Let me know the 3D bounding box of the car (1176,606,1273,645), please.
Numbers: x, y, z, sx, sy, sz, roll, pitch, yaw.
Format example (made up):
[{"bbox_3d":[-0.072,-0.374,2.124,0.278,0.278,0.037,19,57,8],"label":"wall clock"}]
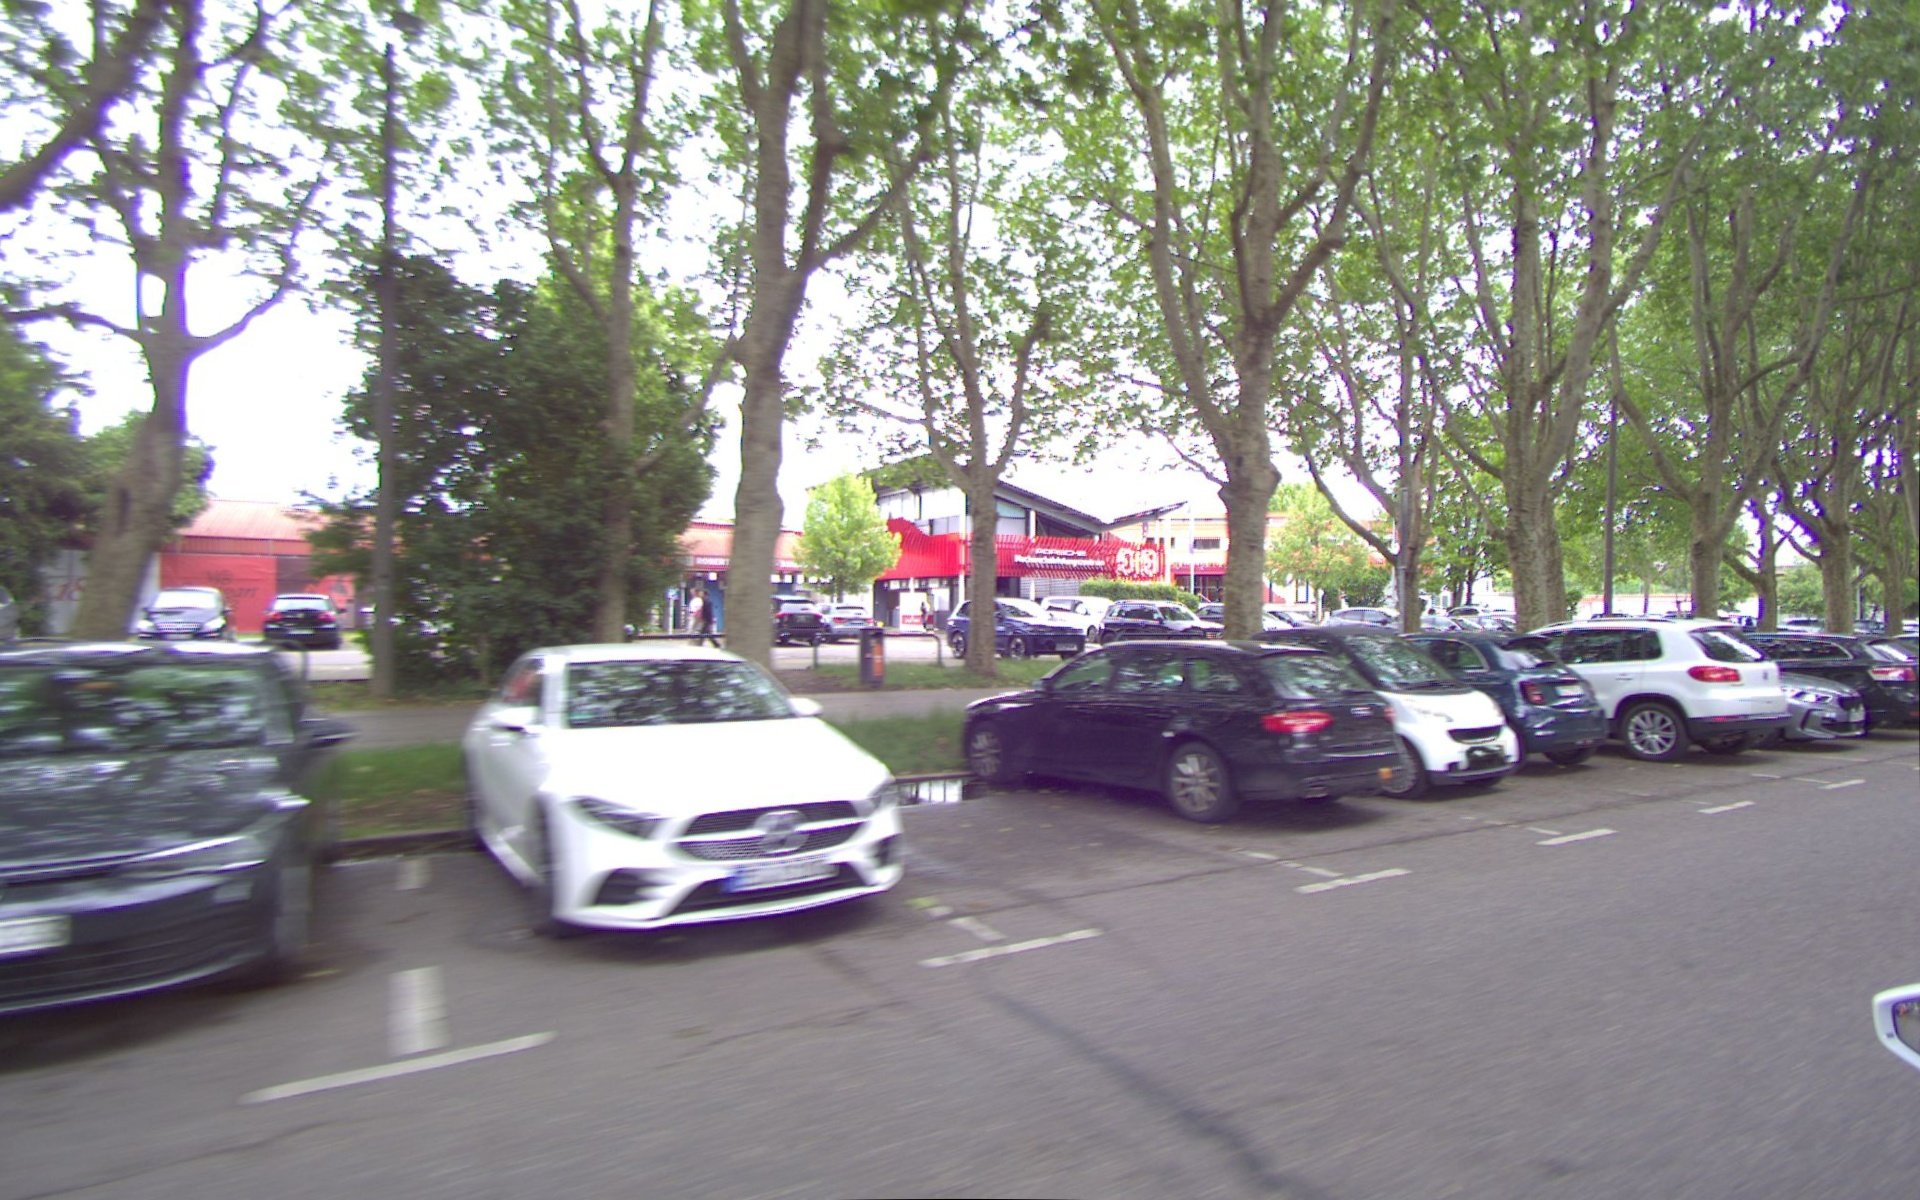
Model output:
[{"bbox_3d":[12.082,1.145,46.074,1.979,1.647,3.962,2,0,-34],"label":"car"}]

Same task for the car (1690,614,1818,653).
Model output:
[{"bbox_3d":[39.392,1.639,49.957,2.270,1.785,4.495,2,0,-31],"label":"car"}]

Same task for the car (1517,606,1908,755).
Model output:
[{"bbox_3d":[10.276,0.989,14.053,1.833,1.704,3.969,2,0,-29],"label":"car"}]

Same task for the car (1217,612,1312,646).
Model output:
[{"bbox_3d":[14.248,1.337,47.138,1.978,1.446,3.965,2,0,-32],"label":"car"}]

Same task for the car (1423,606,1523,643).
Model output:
[{"bbox_3d":[28.731,1.353,56.424,2.265,1.880,4.565,2,0,-25],"label":"car"}]

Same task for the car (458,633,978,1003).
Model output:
[{"bbox_3d":[-1.900,0.954,6.441,2.024,1.463,4.385,1,-2,-31],"label":"car"}]

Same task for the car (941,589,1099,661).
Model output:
[{"bbox_3d":[1.498,0.698,26.816,1.978,1.743,4.528,1,-3,-32],"label":"car"}]

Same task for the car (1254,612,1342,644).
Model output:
[{"bbox_3d":[16.180,1.328,48.203,1.489,1.390,3.965,2,0,-32],"label":"car"}]

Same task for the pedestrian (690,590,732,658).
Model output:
[{"bbox_3d":[-6.856,0.647,27.629,0.907,1.824,0.813,1,0,-30],"label":"pedestrian"}]

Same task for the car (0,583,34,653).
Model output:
[{"bbox_3d":[-24.020,0.403,23.938,1.967,1.684,3.968,2,0,-30],"label":"car"}]

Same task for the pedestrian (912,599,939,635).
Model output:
[{"bbox_3d":[-1.606,0.788,47.029,0.976,1.679,0.835,2,0,-31],"label":"pedestrian"}]

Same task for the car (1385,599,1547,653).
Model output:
[{"bbox_3d":[18.512,0.915,36.961,2.159,1.821,4.913,2,0,-32],"label":"car"}]

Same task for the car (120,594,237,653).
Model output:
[{"bbox_3d":[-20.557,0.580,26.597,1.878,1.415,3.968,0,0,-30],"label":"car"}]

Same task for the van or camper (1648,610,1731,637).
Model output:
[{"bbox_3d":[51.571,1.653,71.061,2.107,1.732,4.299,2,0,-31],"label":"van or camper"}]

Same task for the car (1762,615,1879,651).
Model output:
[{"bbox_3d":[45.844,1.752,53.617,2.107,1.732,4.299,2,0,-31],"label":"car"}]

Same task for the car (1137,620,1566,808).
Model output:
[{"bbox_3d":[3.864,1.011,10.611,1.833,1.472,3.969,2,0,-29],"label":"car"}]

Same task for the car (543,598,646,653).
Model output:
[{"bbox_3d":[-11.622,0.751,31.698,2.158,1.541,4.916,2,0,-31],"label":"car"}]

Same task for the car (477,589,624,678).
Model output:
[{"bbox_3d":[-8.755,0.621,21.175,2.071,1.617,5.321,2,0,-31],"label":"car"}]

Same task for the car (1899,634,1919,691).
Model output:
[{"bbox_3d":[25.032,1.492,23.671,1.806,1.382,3.911,1,-2,-31],"label":"car"}]

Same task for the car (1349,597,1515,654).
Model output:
[{"bbox_3d":[16.568,0.854,35.516,2.159,1.821,4.913,2,0,-32],"label":"car"}]

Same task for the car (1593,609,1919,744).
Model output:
[{"bbox_3d":[12.296,1.052,15.425,1.833,1.704,3.969,2,0,-29],"label":"car"}]

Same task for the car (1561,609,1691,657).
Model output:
[{"bbox_3d":[28.979,1.413,43.851,2.005,1.885,4.299,2,0,-31],"label":"car"}]

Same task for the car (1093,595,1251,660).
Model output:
[{"bbox_3d":[6.137,0.837,29.571,1.978,1.743,4.528,1,-3,-32],"label":"car"}]

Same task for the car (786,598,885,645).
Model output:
[{"bbox_3d":[-4.599,0.765,36.656,1.980,1.571,3.994,2,0,-34],"label":"car"}]

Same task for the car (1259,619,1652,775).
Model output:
[{"bbox_3d":[5.811,1.029,12.283,1.833,1.472,3.969,2,0,-29],"label":"car"}]

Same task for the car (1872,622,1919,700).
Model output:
[{"bbox_3d":[22.680,1.325,21.812,1.732,1.731,3.911,1,-2,-31],"label":"car"}]

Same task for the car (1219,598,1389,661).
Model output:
[{"bbox_3d":[10.938,0.885,32.326,2.159,1.821,4.913,2,0,-32],"label":"car"}]

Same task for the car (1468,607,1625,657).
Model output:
[{"bbox_3d":[23.032,1.212,39.650,2.159,1.821,4.914,1,0,-32],"label":"car"}]

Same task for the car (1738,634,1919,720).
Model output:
[{"bbox_3d":[16.674,1.337,18.019,1.684,1.439,3.973,1,-2,-31],"label":"car"}]

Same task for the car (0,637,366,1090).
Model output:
[{"bbox_3d":[-4.152,0.919,5.141,1.762,1.436,4.389,1,-2,-29],"label":"car"}]

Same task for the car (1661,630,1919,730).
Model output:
[{"bbox_3d":[14.546,1.286,17.039,1.823,1.387,3.966,2,0,-31],"label":"car"}]

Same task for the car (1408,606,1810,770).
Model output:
[{"bbox_3d":[8.129,0.981,12.983,1.833,1.704,3.969,2,0,-29],"label":"car"}]

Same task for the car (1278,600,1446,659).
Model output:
[{"bbox_3d":[13.345,0.930,33.626,2.159,1.821,4.914,1,0,-32],"label":"car"}]

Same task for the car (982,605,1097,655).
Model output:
[{"bbox_3d":[3.158,1.191,41.036,2.159,1.821,4.913,2,0,-32],"label":"car"}]

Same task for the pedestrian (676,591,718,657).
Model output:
[{"bbox_3d":[-7.452,0.664,28.440,0.907,1.824,0.937,1,0,-30],"label":"pedestrian"}]

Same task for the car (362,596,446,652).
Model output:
[{"bbox_3d":[-16.002,0.633,28.915,1.967,1.468,3.968,0,0,-30],"label":"car"}]

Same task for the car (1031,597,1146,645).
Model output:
[{"bbox_3d":[5.344,0.852,42.276,2.159,1.821,4.913,2,0,-32],"label":"car"}]

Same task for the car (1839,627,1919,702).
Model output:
[{"bbox_3d":[20.681,1.301,20.402,1.709,1.536,3.911,1,-2,-31],"label":"car"}]

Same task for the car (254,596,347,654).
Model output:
[{"bbox_3d":[-18.048,0.633,27.645,1.878,1.415,3.968,0,1,-30],"label":"car"}]

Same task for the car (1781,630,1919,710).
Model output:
[{"bbox_3d":[18.876,1.349,19.694,1.680,1.505,3.982,0,-2,-25],"label":"car"}]

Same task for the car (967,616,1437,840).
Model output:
[{"bbox_3d":[1.972,0.951,9.219,1.838,1.472,3.960,2,0,-35],"label":"car"}]

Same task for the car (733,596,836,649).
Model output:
[{"bbox_3d":[-5.980,0.727,33.914,1.980,1.648,3.962,2,0,-34],"label":"car"}]

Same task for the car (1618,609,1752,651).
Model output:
[{"bbox_3d":[33.466,1.354,46.486,2.270,1.748,4.528,2,0,-31],"label":"car"}]
